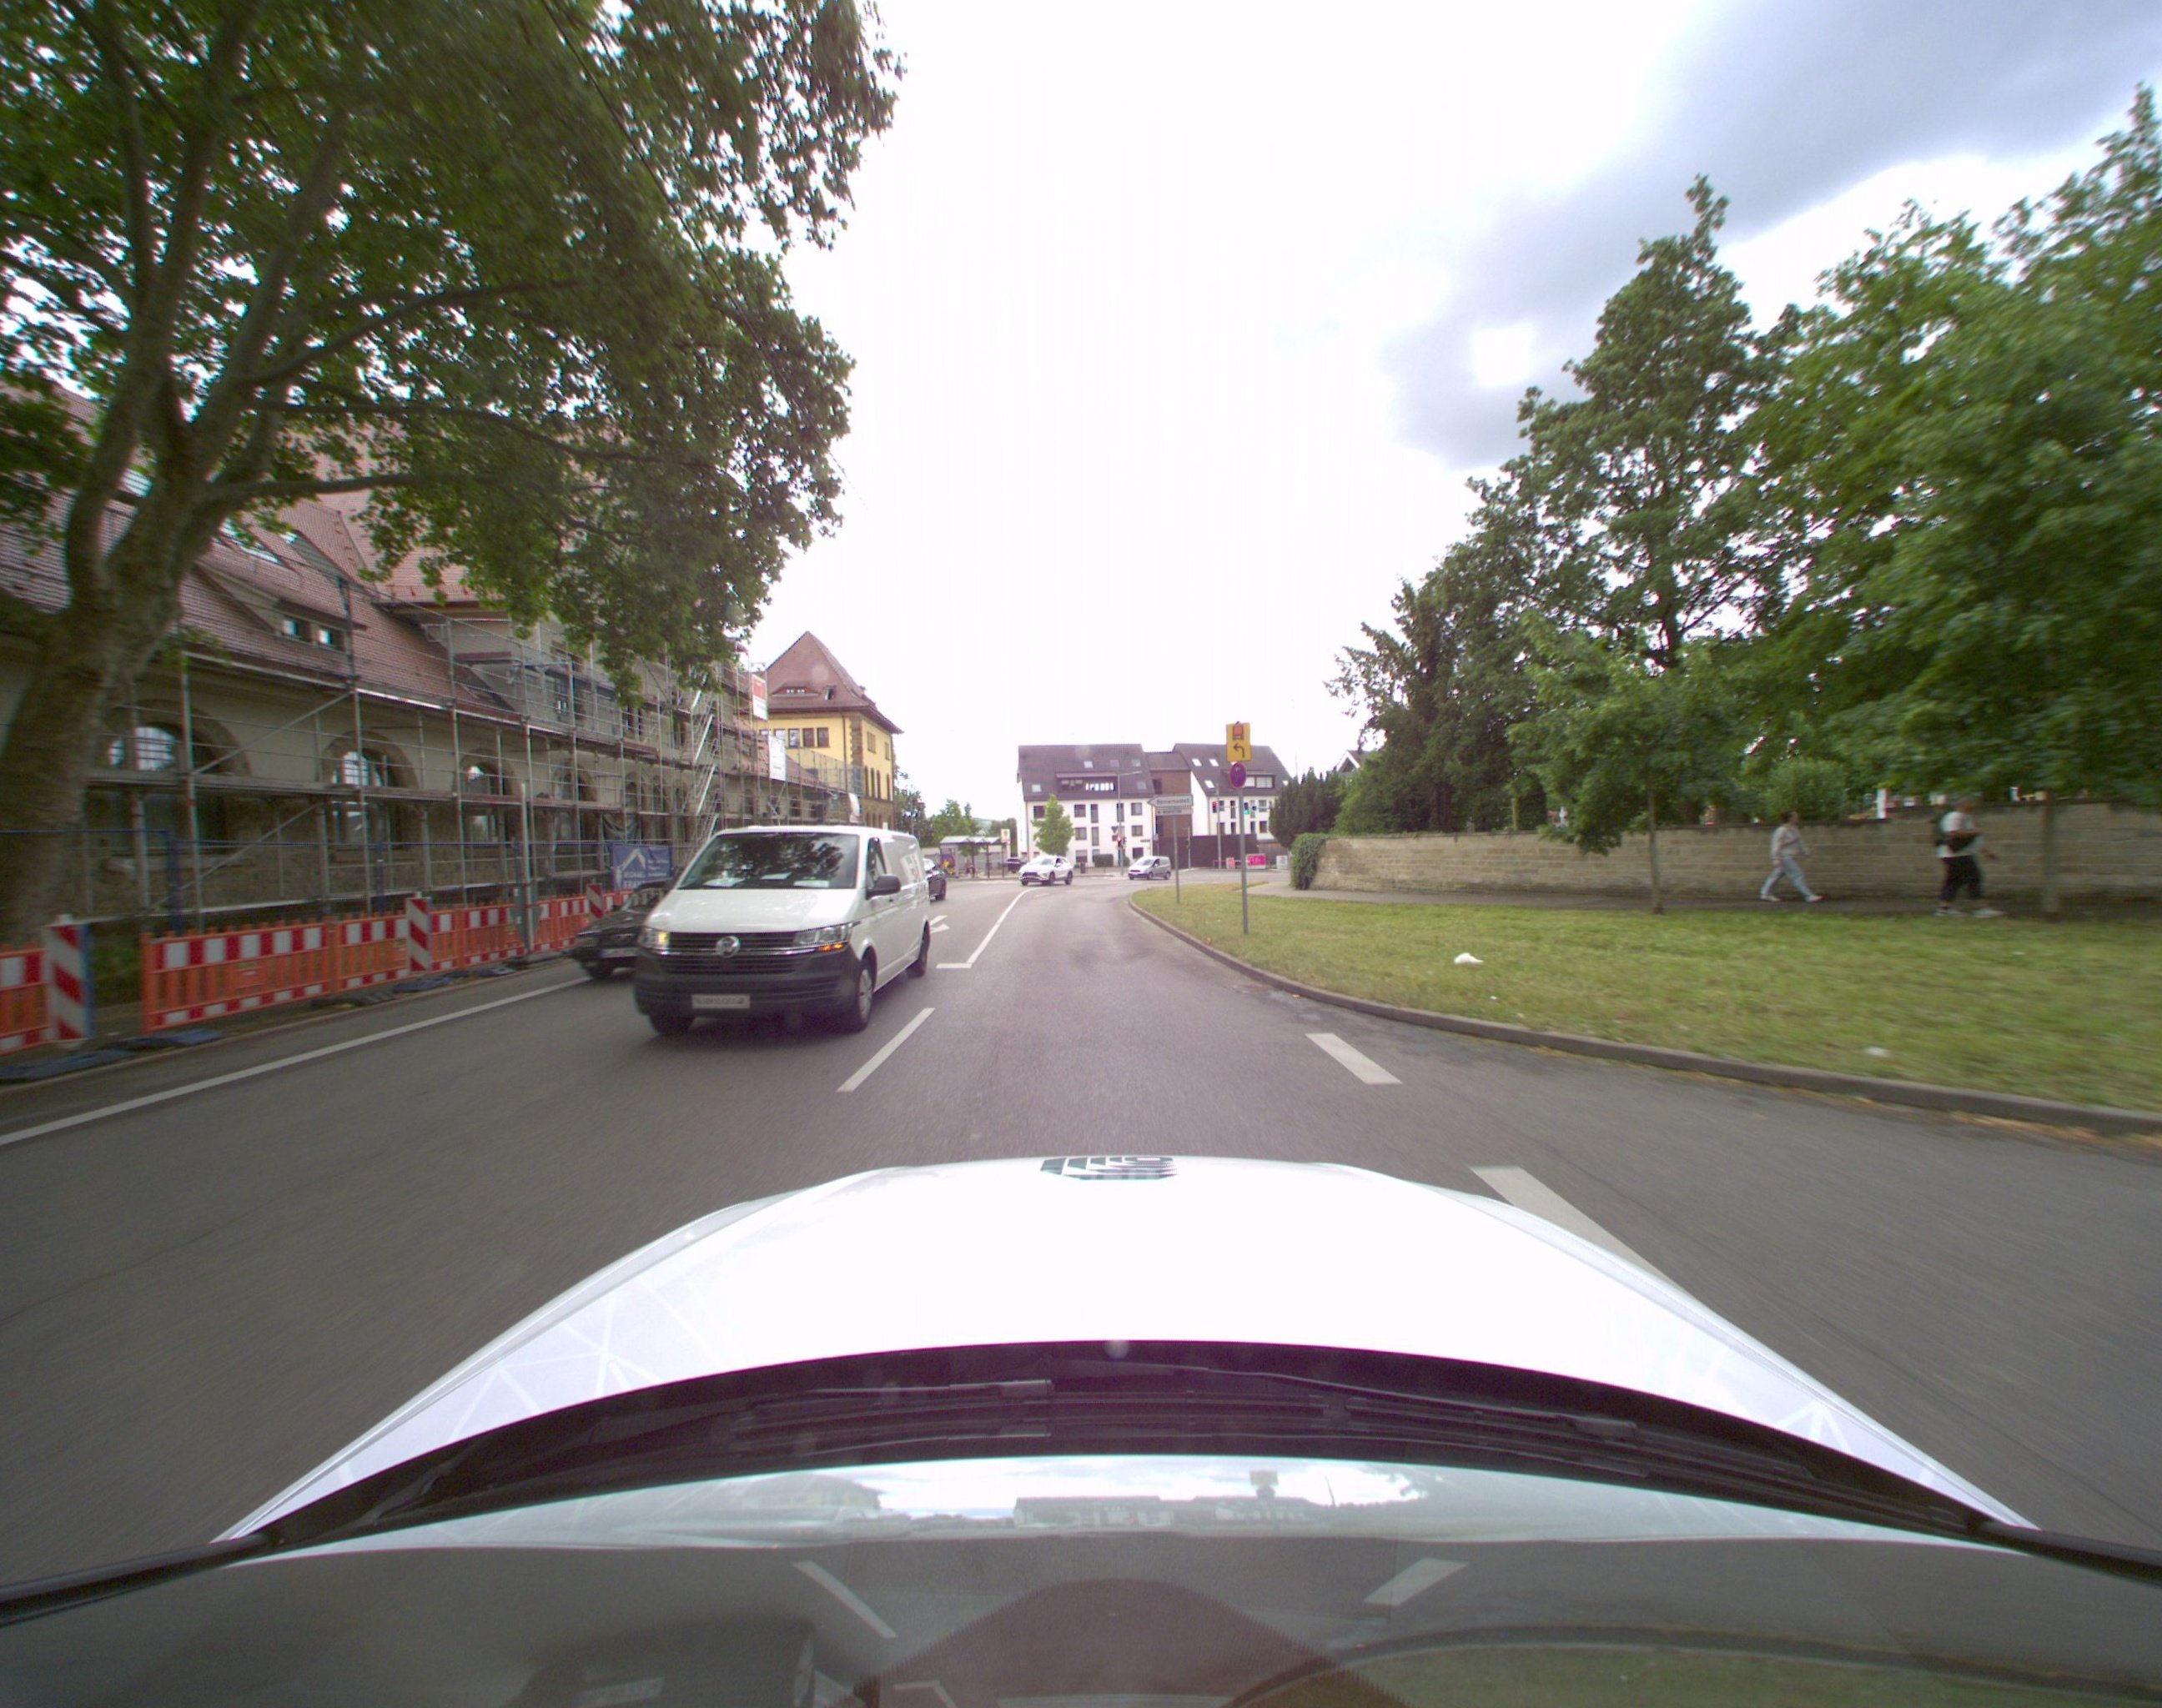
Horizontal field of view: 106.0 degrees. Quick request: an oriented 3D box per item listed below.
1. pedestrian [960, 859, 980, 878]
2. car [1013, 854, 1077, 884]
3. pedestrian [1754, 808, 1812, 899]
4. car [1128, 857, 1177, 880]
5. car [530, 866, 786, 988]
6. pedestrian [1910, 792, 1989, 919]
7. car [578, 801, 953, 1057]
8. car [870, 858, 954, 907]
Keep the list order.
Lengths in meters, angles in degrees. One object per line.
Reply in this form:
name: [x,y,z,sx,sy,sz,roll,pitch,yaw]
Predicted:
pedestrian: [-7.302,0.945,53.653,0.924,1.192,0.910,0,-1,26]
car: [-1.968,0.843,46.186,1.775,1.611,4.533,-2,-1,23]
pedestrian: [12.703,-0.008,14.743,0.583,1.585,0.569,-5,1,-31]
car: [5.255,1.051,59.465,1.676,1.614,4.109,-1,-1,37]
car: [-6.393,0.995,13.031,1.797,1.458,4.631,-2,0,-3]
pedestrian: [12.356,0.013,11.591,0.715,1.734,0.653,-2,0,-36]
car: [-2.899,0.602,9.061,2.199,1.931,5.236,-2,0,-2]
car: [-5.737,0.917,28.251,1.796,1.472,4.849,-2,0,0]
